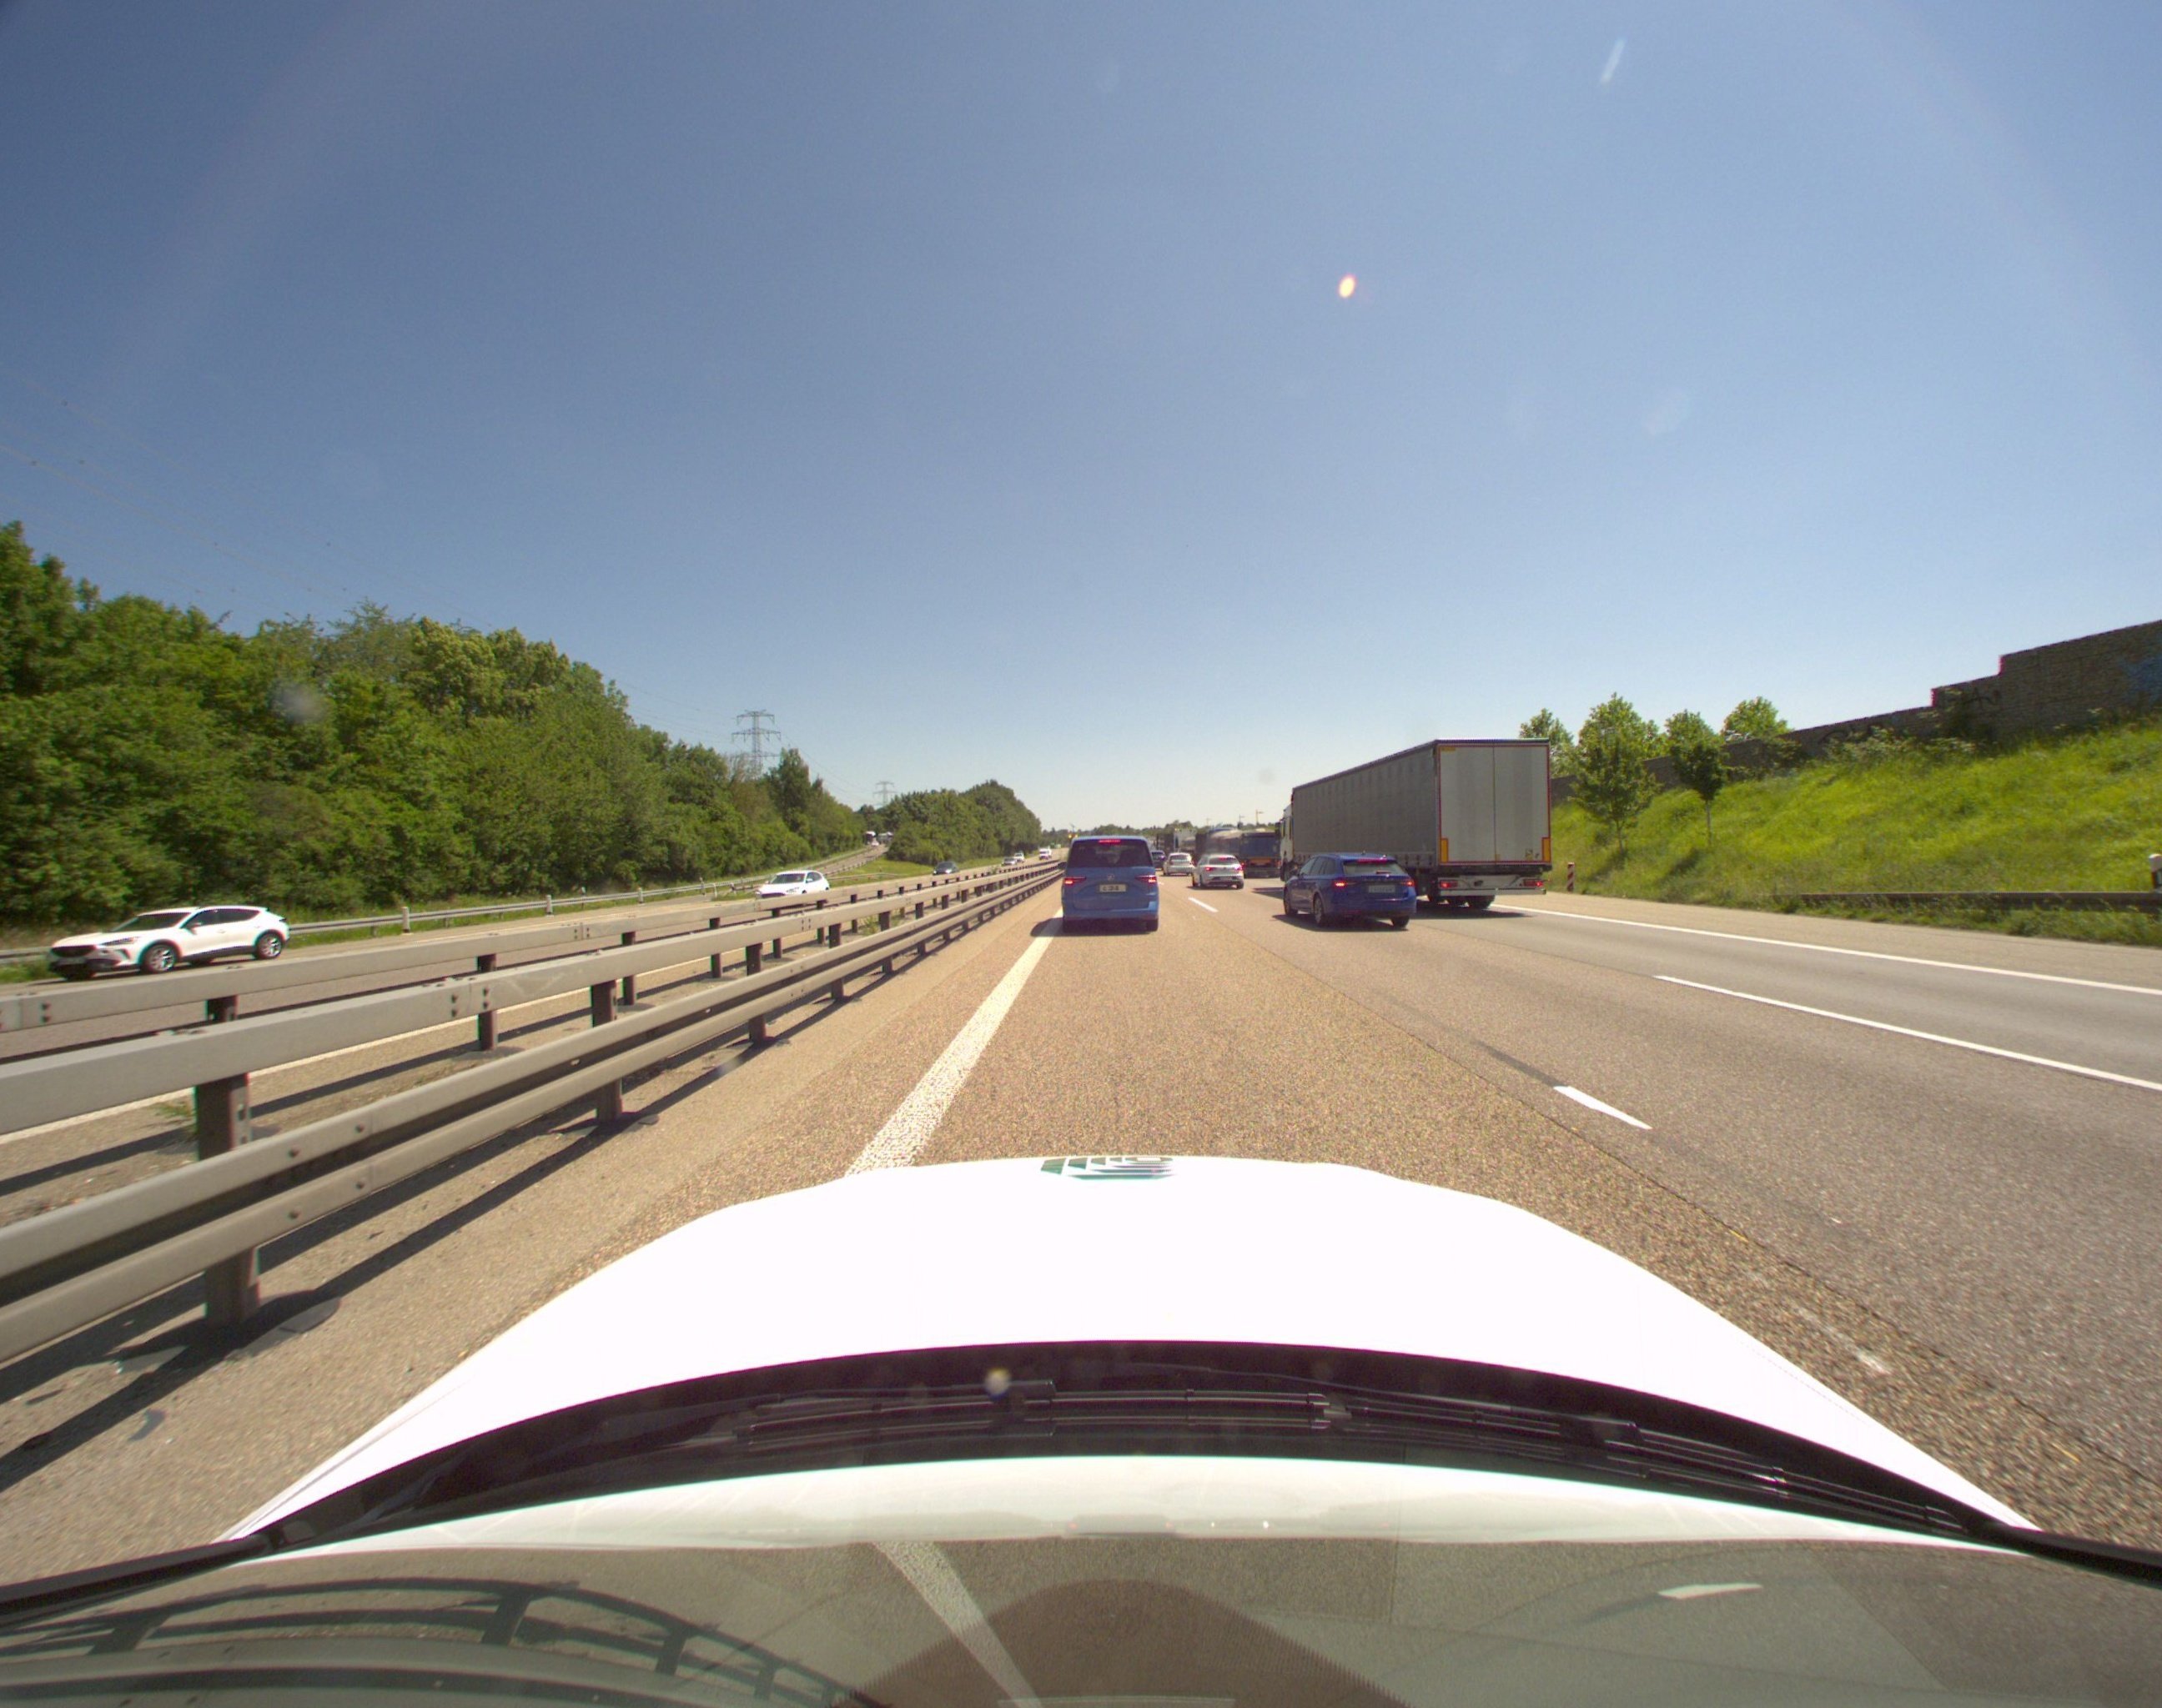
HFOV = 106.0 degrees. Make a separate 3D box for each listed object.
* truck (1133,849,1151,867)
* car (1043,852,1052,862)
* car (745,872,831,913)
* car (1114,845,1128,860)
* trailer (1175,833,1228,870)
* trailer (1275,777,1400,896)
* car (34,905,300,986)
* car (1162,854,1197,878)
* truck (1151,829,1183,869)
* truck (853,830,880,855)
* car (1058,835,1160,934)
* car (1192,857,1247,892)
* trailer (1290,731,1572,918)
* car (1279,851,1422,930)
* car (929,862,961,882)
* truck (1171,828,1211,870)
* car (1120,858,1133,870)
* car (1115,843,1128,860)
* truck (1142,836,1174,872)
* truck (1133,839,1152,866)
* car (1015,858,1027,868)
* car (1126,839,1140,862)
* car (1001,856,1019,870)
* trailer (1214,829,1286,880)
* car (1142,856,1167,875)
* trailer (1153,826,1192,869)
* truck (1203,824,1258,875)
[{"bbox_3d":[6.427,0.460,86.534,1.719,1.857,4.001,0,-1,1],"label":"truck"},{"bbox_3d":[-9.188,0.872,224.565,2.148,2.594,5.890,-2,-1,1],"label":"car"},{"bbox_3d":[-11.722,1.496,32.901,1.844,1.467,4.304,-2,-1,0],"label":"car"},{"bbox_3d":[7.883,-0.276,159.584,2.541,2.717,5.622,0,-1,1],"label":"car"},{"bbox_3d":[11.035,-0.095,76.440,3.630,3.079,15.786,0,-1,4],"label":"trailer"},{"bbox_3d":[9.624,-0.600,31.366,2.913,4.044,6.413,-1,0,2],"label":"trailer"},{"bbox_3d":[-21.932,2.108,19.858,1.682,1.455,4.340,-3,-1,-3],"label":"car"},{"bbox_3d":[6.373,0.772,52.997,1.834,1.454,4.001,0,-1,1],"label":"car"},{"bbox_3d":[11.453,-0.646,108.870,3.647,5.180,5.707,0,-1,0],"label":"truck"},{"bbox_3d":[-64.036,-3.293,243.125,4.700,7.228,13.513,0,-1,-29],"label":"truck"},{"bbox_3d":[0.620,0.602,17.150,1.894,1.838,4.002,0,-1,3],"label":"car"},{"bbox_3d":[5.796,0.821,34.488,1.860,1.361,4.003,0,0,3],"label":"car"},{"bbox_3d":[9.441,-0.618,24.754,2.951,4.049,13.756,-1,0,2],"label":"trailer"},{"bbox_3d":[5.513,0.705,17.240,1.699,1.441,4.429,0,-1,2],"label":"car"},{"bbox_3d":[-11.126,1.457,66.876,1.870,1.446,4.145,-3,-1,0],"label":"car"},{"bbox_3d":[11.426,-0.437,85.291,3.610,4.095,7.530,0,-1,3],"label":"truck"},{"bbox_3d":[7.514,1.624,133.734,1.986,2.014,4.001,0,-1,1],"label":"car"},{"bbox_3d":[12.446,-0.747,249.907,3.210,5.257,8.137,0,-1,-2],"label":"car"},{"bbox_3d":[11.831,0.111,127.114,3.609,5.213,15.685,0,-1,0],"label":"truck"},{"bbox_3d":[11.747,-0.136,156.177,3.057,4.920,10.691,0,-1,1],"label":"truck"},{"bbox_3d":[-12.273,1.815,167.329,1.858,1.904,5.491,-3,-1,0],"label":"car"},{"bbox_3d":[12.267,-0.855,192.782,3.206,5.257,8.146,0,-1,2],"label":"car"},{"bbox_3d":[-8.561,1.125,98.294,1.767,1.631,3.950,0,-1,0],"label":"car"},{"bbox_3d":[10.142,-0.022,49.788,2.733,2.836,9.119,0,1,2],"label":"trailer"},{"bbox_3d":[6.048,0.932,67.050,1.774,1.524,4.001,0,-1,1],"label":"car"},{"bbox_3d":[11.384,-0.680,102.873,3.634,5.136,13.075,0,-1,1],"label":"trailer"},{"bbox_3d":[10.342,-0.347,56.957,2.733,3.311,7.135,0,0,2],"label":"truck"}]
